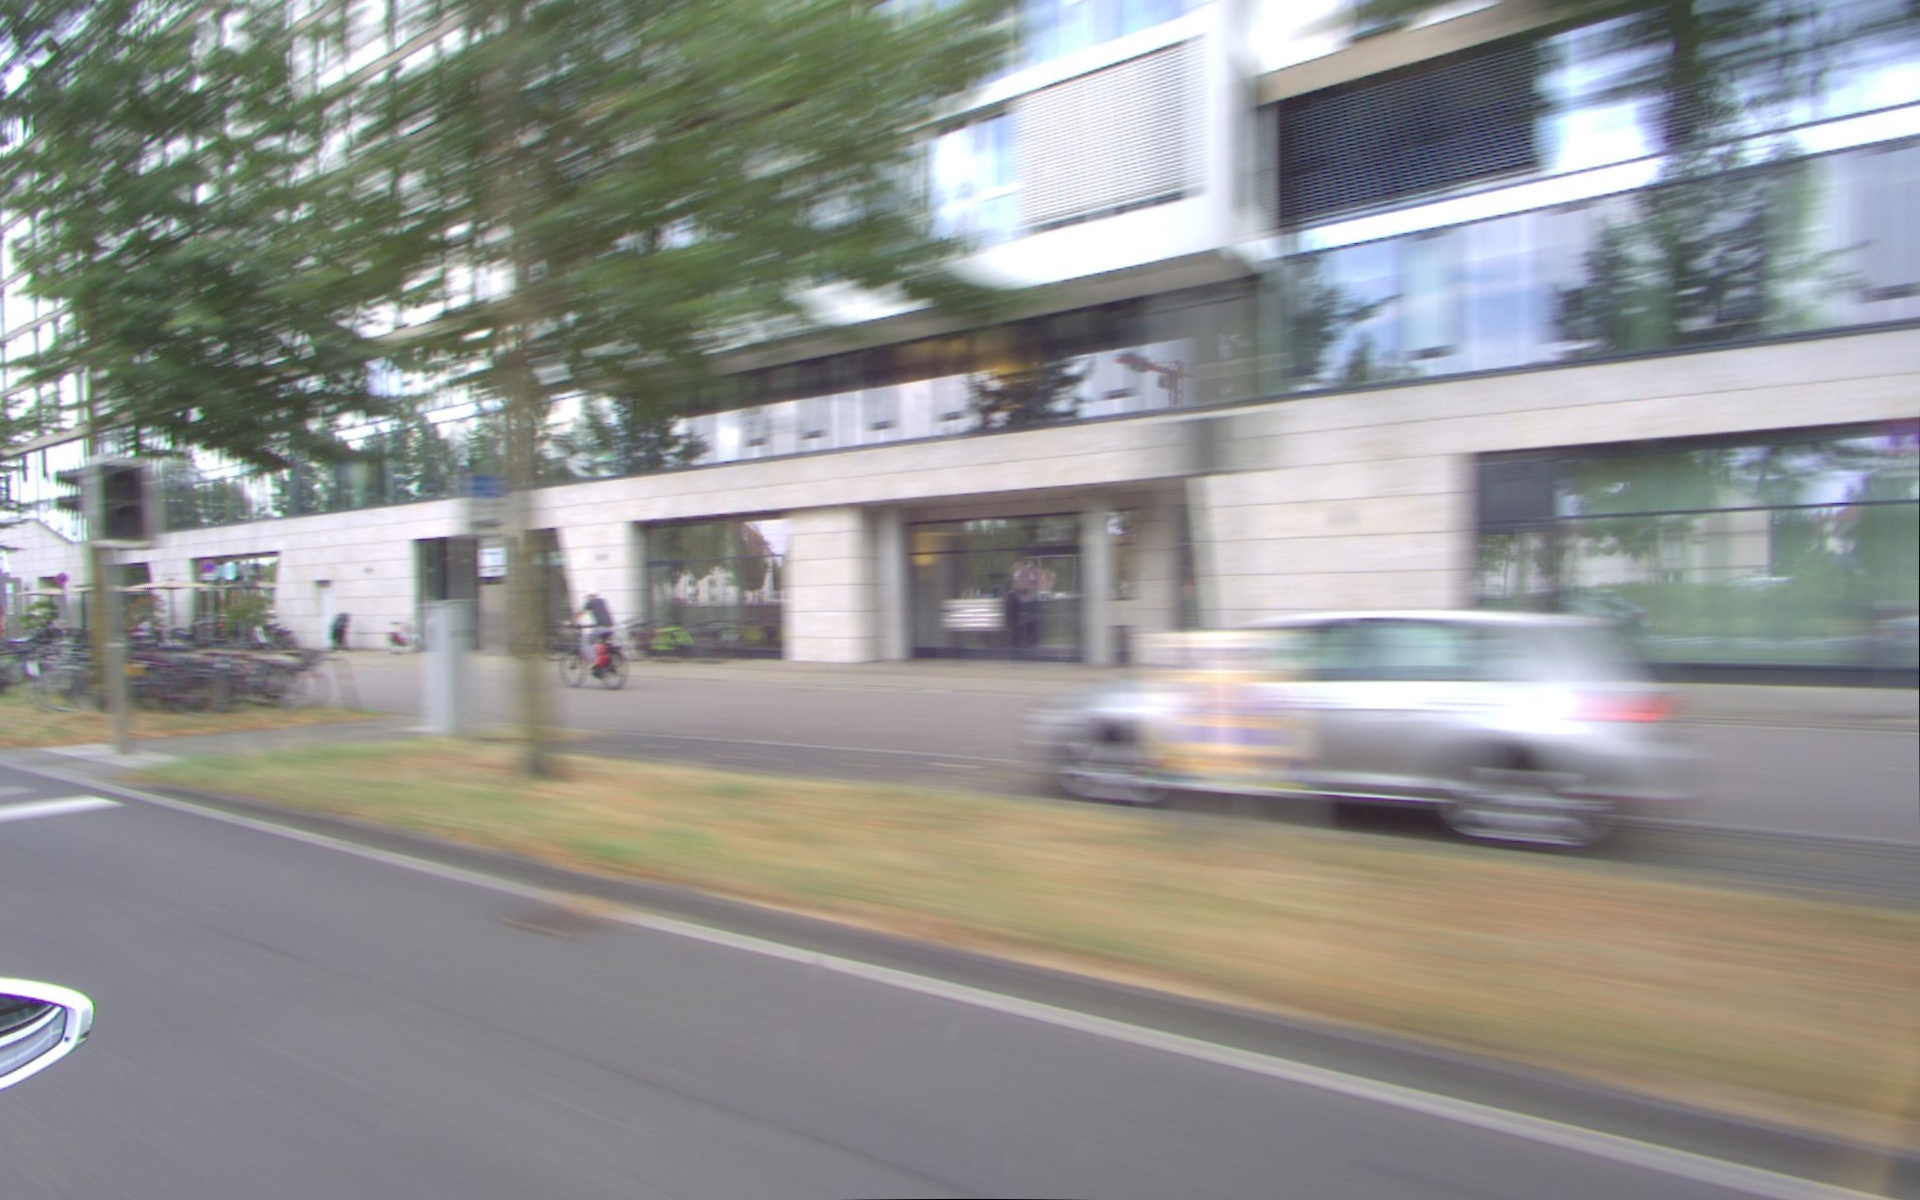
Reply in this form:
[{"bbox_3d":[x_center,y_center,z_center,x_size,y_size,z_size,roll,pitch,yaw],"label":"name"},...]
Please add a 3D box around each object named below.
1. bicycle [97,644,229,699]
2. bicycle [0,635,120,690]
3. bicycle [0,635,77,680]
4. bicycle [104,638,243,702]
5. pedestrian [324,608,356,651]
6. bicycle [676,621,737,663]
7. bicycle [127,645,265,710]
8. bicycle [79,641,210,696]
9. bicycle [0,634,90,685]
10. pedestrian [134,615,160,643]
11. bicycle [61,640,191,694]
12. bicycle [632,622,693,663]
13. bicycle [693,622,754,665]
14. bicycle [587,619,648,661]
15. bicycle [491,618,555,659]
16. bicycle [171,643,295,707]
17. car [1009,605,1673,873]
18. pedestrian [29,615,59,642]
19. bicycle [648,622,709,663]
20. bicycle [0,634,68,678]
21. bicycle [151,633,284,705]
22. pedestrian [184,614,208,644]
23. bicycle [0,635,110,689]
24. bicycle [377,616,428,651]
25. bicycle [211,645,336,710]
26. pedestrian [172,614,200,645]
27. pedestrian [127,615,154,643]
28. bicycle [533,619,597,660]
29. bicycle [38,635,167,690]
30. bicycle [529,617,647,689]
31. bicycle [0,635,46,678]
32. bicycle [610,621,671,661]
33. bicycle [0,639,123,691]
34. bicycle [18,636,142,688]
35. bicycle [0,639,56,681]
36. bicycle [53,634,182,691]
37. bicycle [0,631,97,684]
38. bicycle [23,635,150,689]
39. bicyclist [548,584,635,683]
[{"bbox_3d":[-14.018,1.248,17.670,0.579,0.917,1.716,0,-3,24],"label":"bicycle"},{"bbox_3d":[-18.594,1.276,20.598,0.535,1.078,1.932,0,-3,24],"label":"bicycle"},{"bbox_3d":[-20.845,1.272,22.132,0.603,0.963,1.860,0,-3,30],"label":"bicycle"},{"bbox_3d":[-13.465,1.193,17.201,0.600,1.024,1.774,0,-3,24],"label":"bicycle"},{"bbox_3d":[-21.205,1.002,34.247,0.712,1.425,0.753,0,1,40],"label":"pedestrian"},{"bbox_3d":[-6.162,1.000,24.404,0.525,0.966,1.527,0,0,29],"label":"bicycle"},{"bbox_3d":[-12.846,1.281,16.904,0.600,1.025,1.773,0,-2,24],"label":"bicycle"},{"bbox_3d":[-14.567,1.218,17.933,0.579,0.917,1.716,0,-3,24],"label":"bicycle"},{"bbox_3d":[-20.281,1.281,21.748,0.694,1.078,1.929,0,-3,30],"label":"bicycle"},{"bbox_3d":[-35.828,1.267,44.135,0.748,1.208,0.716,0,1,34],"label":"pedestrian"},{"bbox_3d":[-15.125,1.209,18.220,0.579,0.917,1.716,0,-3,24],"label":"bicycle"},{"bbox_3d":[-7.465,1.048,25.193,0.525,0.966,1.527,0,0,29],"label":"bicycle"},{"bbox_3d":[-5.686,1.025,24.125,0.525,0.966,1.527,0,0,29],"label":"bicycle"},{"bbox_3d":[-8.921,1.024,26.145,0.525,1.040,1.527,0,0,29],"label":"bicycle"},{"bbox_3d":[-12.127,1.057,27.832,0.525,1.040,1.595,0,1,29],"label":"bicycle"},{"bbox_3d":[-11.585,1.170,16.008,0.477,0.965,1.528,0,-2,29],"label":"bicycle"},{"bbox_3d":[2.570,0.770,7.250,4.124,1.440,1.756,-1,0,33],"label":"car"},{"bbox_3d":[-44.165,1.376,48.271,0.938,1.245,0.894,0,1,38],"label":"pedestrian"},{"bbox_3d":[-6.971,1.038,24.858,0.525,0.966,1.527,0,0,29],"label":"bicycle"},{"bbox_3d":[-21.439,1.255,22.561,0.643,0.963,1.860,0,-3,30],"label":"bicycle"},{"bbox_3d":[-12.162,1.114,16.453,0.517,1.104,1.667,0,-2,29],"label":"bicycle"},{"bbox_3d":[-31.202,1.190,40.916,0.712,1.208,0.753,-1,1,-35],"label":"pedestrian"},{"bbox_3d":[-19.066,1.285,20.920,0.535,1.078,1.932,0,-3,24],"label":"bicycle"},{"bbox_3d":[-17.930,1.077,32.223,0.599,1.040,1.602,-1,1,6],"label":"bicycle"},{"bbox_3d":[-10.810,1.202,15.811,0.544,0.965,1.528,0,-2,29],"label":"bicycle"},{"bbox_3d":[-30.650,1.167,39.656,0.767,1.208,1.096,-1,1,-42],"label":"pedestrian"},{"bbox_3d":[-36.524,1.283,44.604,0.748,1.208,0.717,0,1,32],"label":"pedestrian"},{"bbox_3d":[-10.587,1.043,26.865,0.525,1.040,1.595,0,1,29],"label":"bicycle"},{"bbox_3d":[-16.190,1.183,18.952,0.599,0.986,1.745,0,-3,24],"label":"bicycle"},{"bbox_3d":[-7.133,0.987,19.160,2.235,1.252,0.899,0,3,32],"label":"bicycle"},{"bbox_3d":[-22.617,1.312,23.308,0.565,1.007,1.860,0,-3,30],"label":"bicycle"},{"bbox_3d":[-8.162,1.028,25.611,0.525,0.966,1.527,0,0,29],"label":"bicycle"},{"bbox_3d":[-18.092,1.308,20.201,0.599,0.986,1.745,0,-3,24],"label":"bicycle"},{"bbox_3d":[-17.511,1.232,19.974,0.599,0.986,1.745,0,-3,24],"label":"bicycle"},{"bbox_3d":[-22.054,1.373,22.969,0.494,0.963,1.860,0,-3,30],"label":"bicycle"},{"bbox_3d":[-15.635,1.160,18.632,0.599,0.986,1.716,0,-3,24],"label":"bicycle"},{"bbox_3d":[-19.692,1.218,21.277,0.632,1.078,1.929,0,-3,30],"label":"bicycle"},{"bbox_3d":[-16.883,1.194,19.405,0.599,0.986,1.745,0,-3,24],"label":"bicycle"},{"bbox_3d":[-6.975,0.613,18.990,1.113,1.761,0.994,0,3,32],"label":"bicyclist"}]
